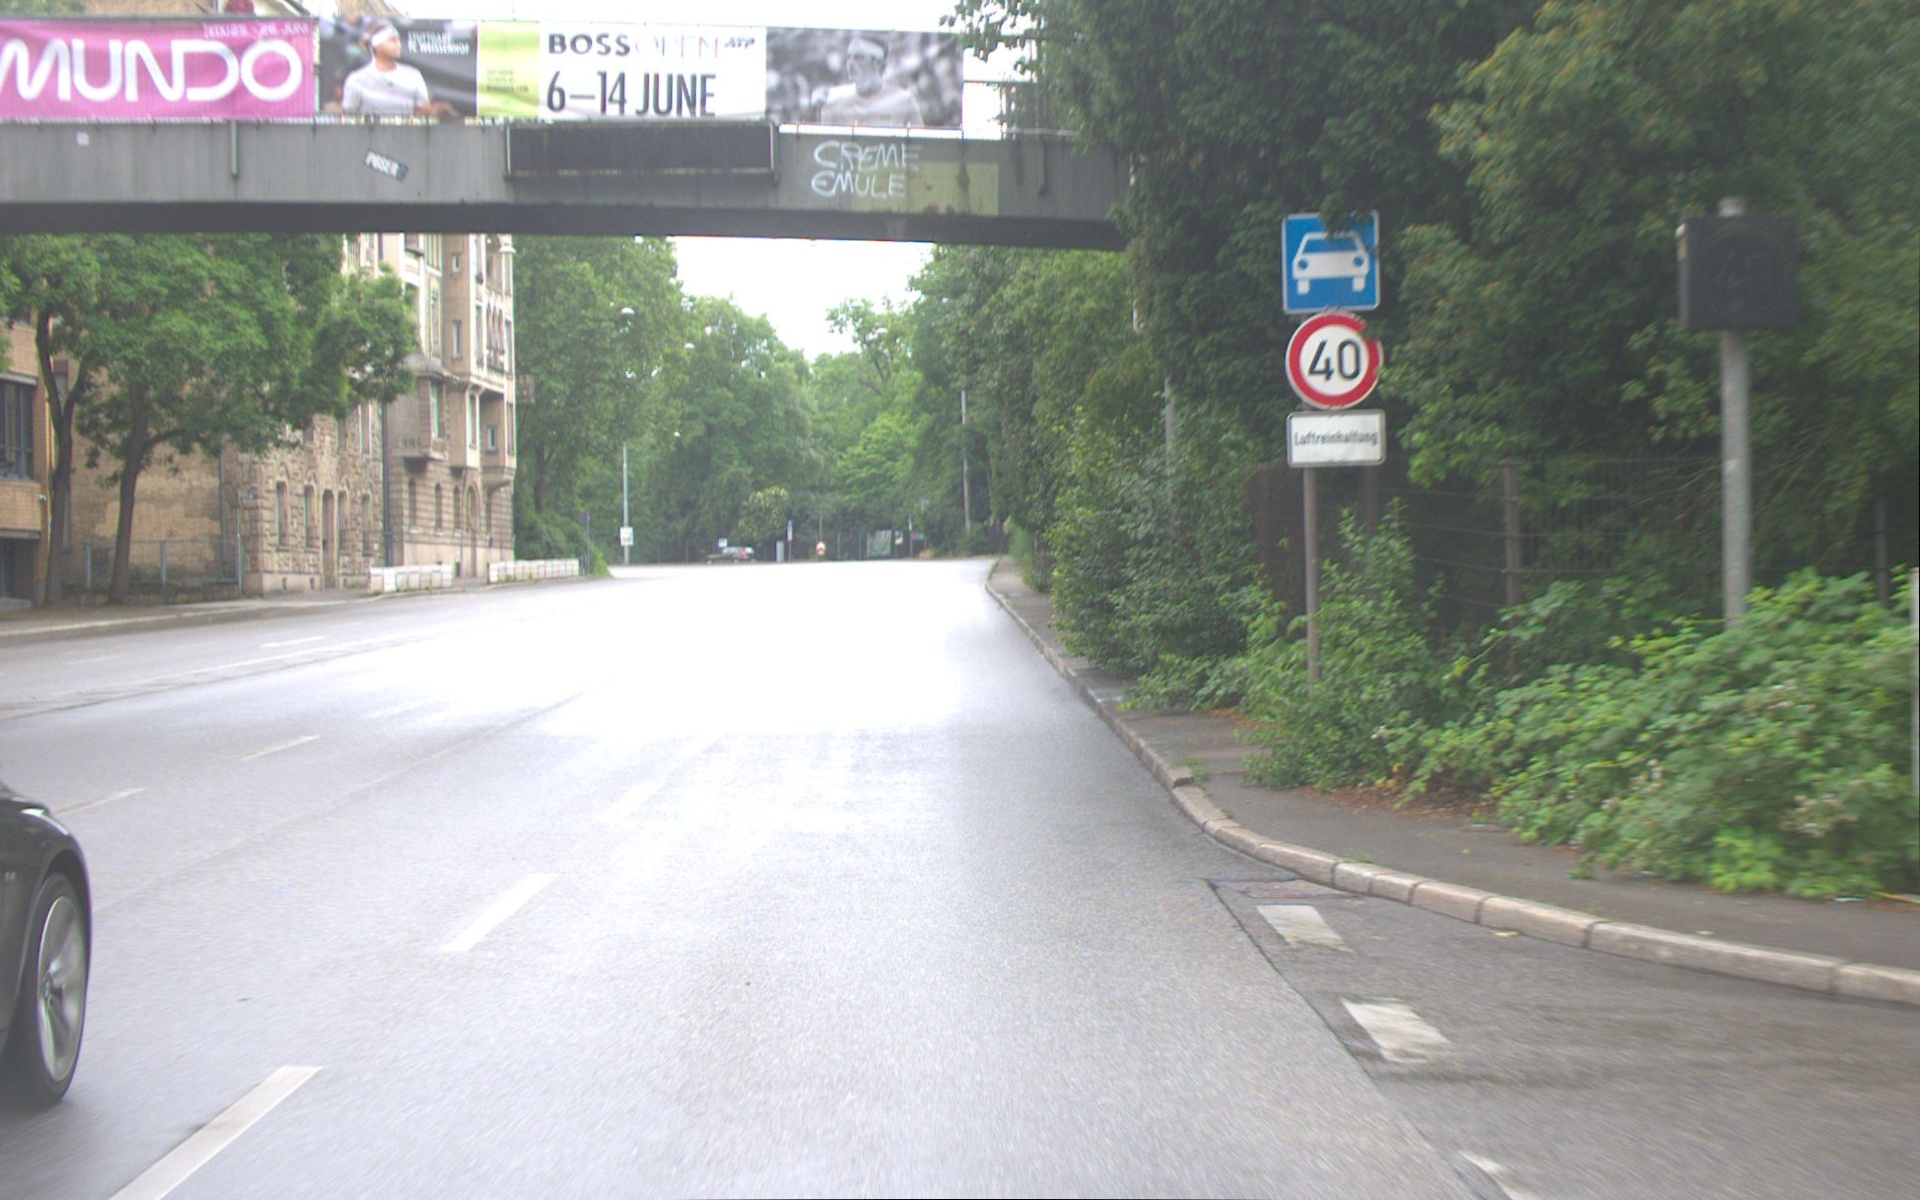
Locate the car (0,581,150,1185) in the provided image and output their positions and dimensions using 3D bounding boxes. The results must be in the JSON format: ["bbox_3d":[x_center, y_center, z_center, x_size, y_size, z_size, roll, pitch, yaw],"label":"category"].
[{"bbox_3d":[-3.215,0.694,7.527,1.776,1.453,4.477,0,0,1],"label":"car"}]

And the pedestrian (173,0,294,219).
[{"bbox_3d":[-6.985,-4.914,33.121,0.954,2.337,1.007,2,0,-6],"label":"pedestrian"}]

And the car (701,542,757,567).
[{"bbox_3d":[-15.450,-3.064,230.149,3.587,1.542,1.613,2,0,2],"label":"car"}]
